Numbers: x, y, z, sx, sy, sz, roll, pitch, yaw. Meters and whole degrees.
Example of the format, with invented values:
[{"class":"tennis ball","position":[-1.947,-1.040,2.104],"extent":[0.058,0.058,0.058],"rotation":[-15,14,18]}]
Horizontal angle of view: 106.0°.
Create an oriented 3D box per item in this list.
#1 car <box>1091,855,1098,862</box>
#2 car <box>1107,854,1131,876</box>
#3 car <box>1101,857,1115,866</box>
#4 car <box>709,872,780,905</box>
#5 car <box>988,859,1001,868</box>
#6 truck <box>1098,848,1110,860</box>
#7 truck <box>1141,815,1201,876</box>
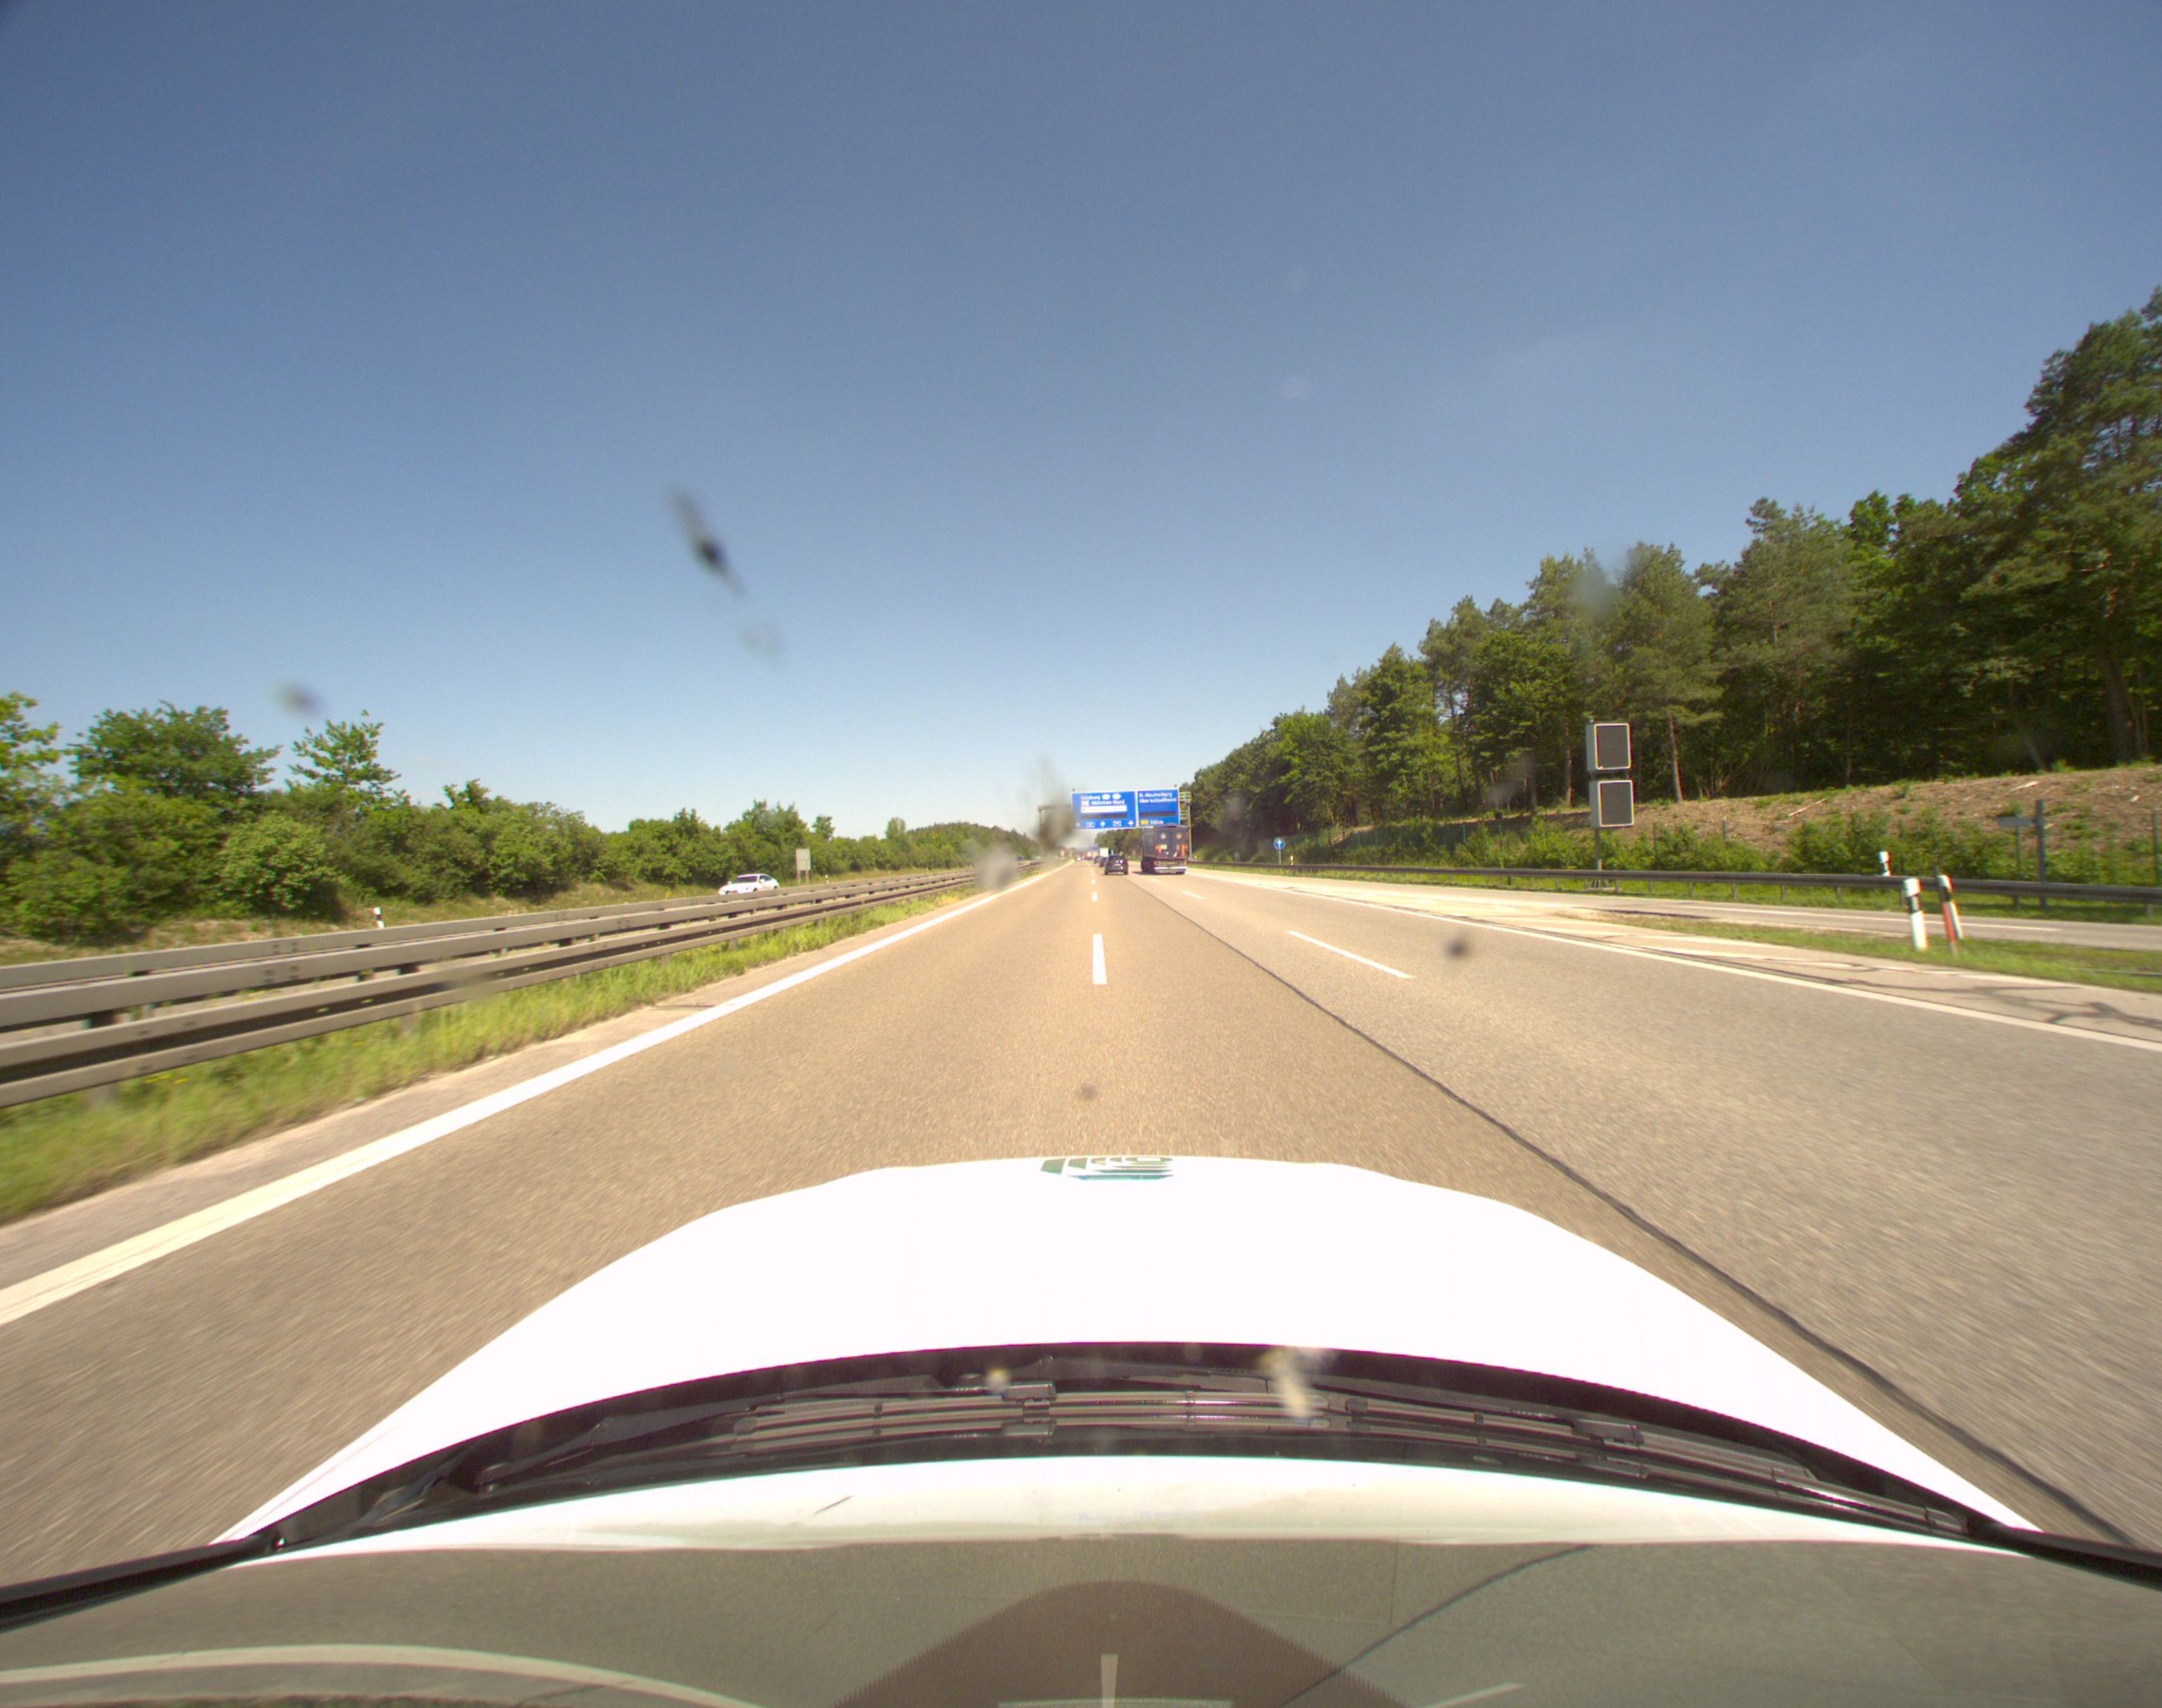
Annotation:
[{"class":"car","position":[2.758,0.930,165.113],"extent":[1.465,1.398,3.412],"rotation":[1,0,2]},{"class":"car","position":[3.035,0.876,65.143],"extent":[1.792,1.669,4.261],"rotation":[-1,0,3]},{"class":"car","position":[3.606,0.998,108.502],"extent":[1.702,1.155,3.691],"rotation":[-2,0,2]},{"class":"car","position":[-18.547,1.894,45.156],"extent":[1.986,1.593,4.302],"rotation":[-2,0,2]},{"class":"car","position":[-14.183,1.574,134.154],"extent":[1.598,1.299,3.792],"rotation":[-1,0,2]},{"class":"truck","position":[7.353,-0.011,258.451],"extent":[3.423,3.795,13.357],"rotation":[-1,0,2]},{"class":"truck","position":[7.173,-0.665,67.166],"extent":[3.765,4.422,14.058],"rotation":[-1,0,2]}]
